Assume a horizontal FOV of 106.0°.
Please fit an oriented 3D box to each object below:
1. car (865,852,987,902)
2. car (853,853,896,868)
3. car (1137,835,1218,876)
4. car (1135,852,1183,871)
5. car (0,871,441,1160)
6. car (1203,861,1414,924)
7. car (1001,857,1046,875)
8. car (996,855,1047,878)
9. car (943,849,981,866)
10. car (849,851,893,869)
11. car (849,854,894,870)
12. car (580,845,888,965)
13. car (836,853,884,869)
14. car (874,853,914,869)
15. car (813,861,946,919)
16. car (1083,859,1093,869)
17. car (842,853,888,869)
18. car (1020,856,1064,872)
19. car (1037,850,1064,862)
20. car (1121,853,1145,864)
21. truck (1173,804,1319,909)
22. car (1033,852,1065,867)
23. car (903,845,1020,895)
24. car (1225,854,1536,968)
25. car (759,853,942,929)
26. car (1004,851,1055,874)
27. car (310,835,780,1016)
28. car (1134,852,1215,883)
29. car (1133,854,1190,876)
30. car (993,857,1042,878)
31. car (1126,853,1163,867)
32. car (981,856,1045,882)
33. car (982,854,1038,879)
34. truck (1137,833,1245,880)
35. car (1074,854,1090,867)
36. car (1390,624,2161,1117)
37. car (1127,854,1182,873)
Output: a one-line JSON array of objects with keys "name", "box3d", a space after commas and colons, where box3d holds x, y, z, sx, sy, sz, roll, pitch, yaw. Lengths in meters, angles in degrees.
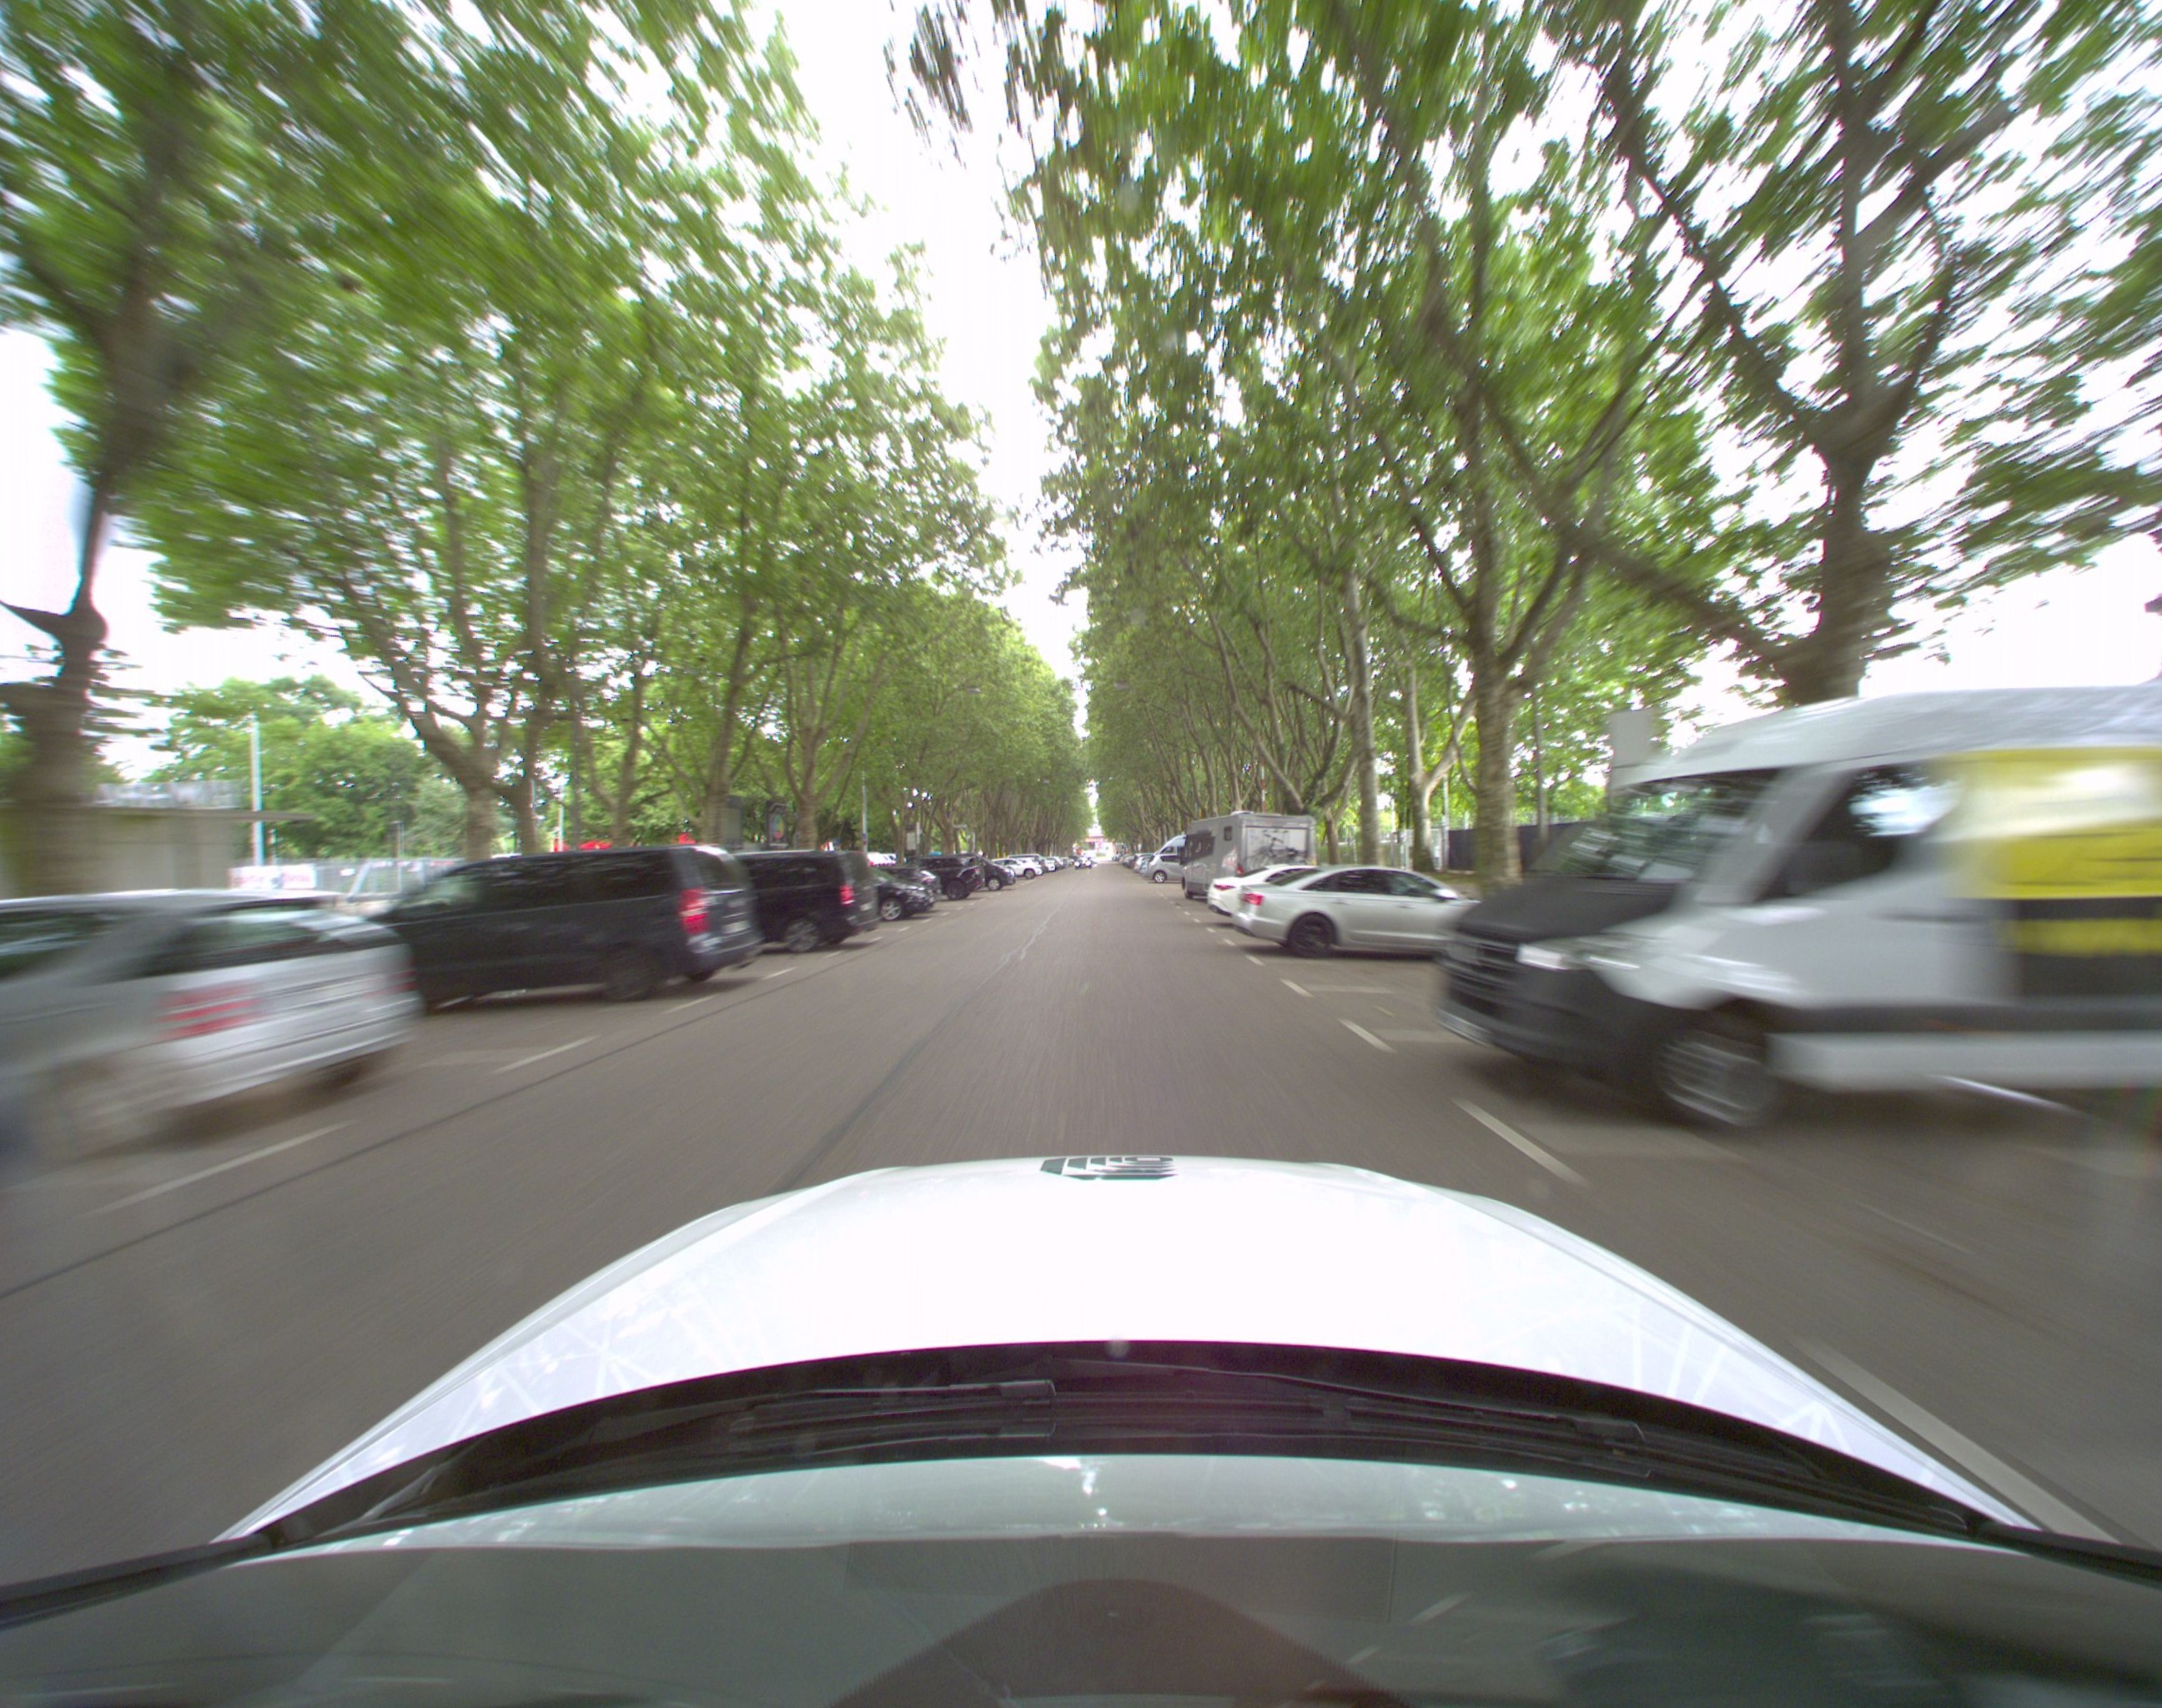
[{"name": "car", "box3d": [-6.218, 0.916, 33.086, 4.647, 1.820, 1.802, -2, -2, -6]}, {"name": "car", "box3d": [-31.309, 1.014, 123.512, 5.980, 2.240, 2.000, -1, 0, 1]}, {"name": "car", "box3d": [6.384, 0.074, 54.308, 5.208, 2.689, 1.958, 0, 0, 2]}, {"name": "car", "box3d": [7.338, 0.693, 76.683, 4.371, 1.755, 1.800, 0, 0, -1]}, {"name": "car", "box3d": [-7.189, 1.046, 5.536, 4.096, 1.568, 1.756, -4, 0, -4]}, {"name": "car", "box3d": [5.003, 0.841, 18.309, 4.303, 1.302, 1.700, -1, 0, 1]}, {"name": "car", "box3d": [-5.375, 1.082, 76.692, 3.975, 1.413, 1.682, -4, 0, -1]}, {"name": "car", "box3d": [-5.280, 1.095, 72.480, 4.327, 1.667, 1.999, -4, 0, -1]}, {"name": "car", "box3d": [-19.478, 0.588, 133.147, 5.764, 2.597, 2.001, -1, 0, 1]}, {"name": "car", "box3d": [-31.201, 0.918, 121.263, 5.980, 2.527, 2.000, -1, 0, 1]}, {"name": "car", "box3d": [-30.483, 1.153, 118.632, 5.980, 2.318, 2.000, -1, 0, 1]}, {"name": "car", "box3d": [-6.522, 0.925, 15.759, 4.886, 1.924, 2.209, -3, 0, 2]}, {"name": "car", "box3d": [-30.759, 0.978, 113.442, 5.980, 2.252, 2.000, -1, 0, 1]}, {"name": "car", "box3d": [-30.559, 1.195, 133.112, 5.980, 2.527, 2.000, -1, 0, 1]}, {"name": "car", "box3d": [-6.301, 1.098, 25.785, 3.900, 1.494, 1.747, -4, 0, -12]}, {"name": "car", "box3d": [1.237, 1.713, 140.940, 1.683, 1.471, 3.839, -3, 0, 0]}, {"name": "car", "box3d": [-30.710, 0.995, 115.835, 5.980, 2.252, 2.000, -1, 0, 1]}, {"name": "car", "box3d": [-4.176, 1.075, 87.002, 4.426, 1.452, 1.777, -3, 0, 5]}, {"name": "car", "box3d": [-4.381, 0.254, 116.536, 3.817, 1.430, 1.693, -3, 0, -2]}, {"name": "car", "box3d": [8.228, 0.769, 129.527, 3.636, 1.667, 1.518, -1, 0, -2]}, {"name": "truck", "box3d": [5.110, 0.066, 26.751, 2.456, 2.938, 7.520, 0, 0, -7]}, {"name": "car", "box3d": [-3.915, 0.711, 99.234, 3.817, 1.627, 1.952, -3, 0, -2]}, {"name": "car", "box3d": [-5.865, 0.772, 40.597, 5.418, 2.128, 1.940, -3, 0, -1]}, {"name": "car", "box3d": [4.581, 0.836, 12.962, 4.339, 1.445, 1.614, 3, 0, 5]}, {"name": "car", "box3d": [-6.481, 1.029, 23.198, 4.560, 1.781, 1.799, -4, 1, 3]}, {"name": "car", "box3d": [-5.163, 0.873, 81.815, 4.877, 2.019, 1.919, -3, 0, 0]}, {"name": "car", "box3d": [-6.790, 0.846, 10.826, 4.752, 1.924, 2.015, -3, 0, -4]}, {"name": "car", "box3d": [5.050, 0.700, 44.346, 4.321, 1.618, 1.806, 0, 0, 4]}, {"name": "car", "box3d": [5.835, 0.793, 59.453, 4.102, 1.429, 1.704, 1, -1, 3]}, {"name": "car", "box3d": [-5.402, 1.111, 69.681, 3.975, 1.475, 1.842, -4, 0, -1]}, {"name": "car", "box3d": [6.815, 0.638, 87.137, 3.815, 1.389, 1.694, -1, 0, -1]}, {"name": "car", "box3d": [-4.875, 1.081, 58.971, 4.366, 1.597, 1.999, -3, 0, -1]}, {"name": "car", "box3d": [-5.833, 1.010, 66.932, 4.327, 1.667, 1.999, -4, 0, -1]}, {"name": "truck", "box3d": [6.572, 0.161, 49.113, 6.265, 2.715, 2.100, -1, 0, 4]}, {"name": "car", "box3d": [0.058, 0.745, 95.776, 1.650, 1.364, 4.109, -4, 0, -2]}, {"name": "car", "box3d": [5.927, 0.088, 5.518, 6.853, 2.695, 2.129, -1, 0, 2]}, {"name": "car", "box3d": [6.255, 0.817, 69.707, 4.488, 1.526, 1.702, 0, 0, -1]}]
